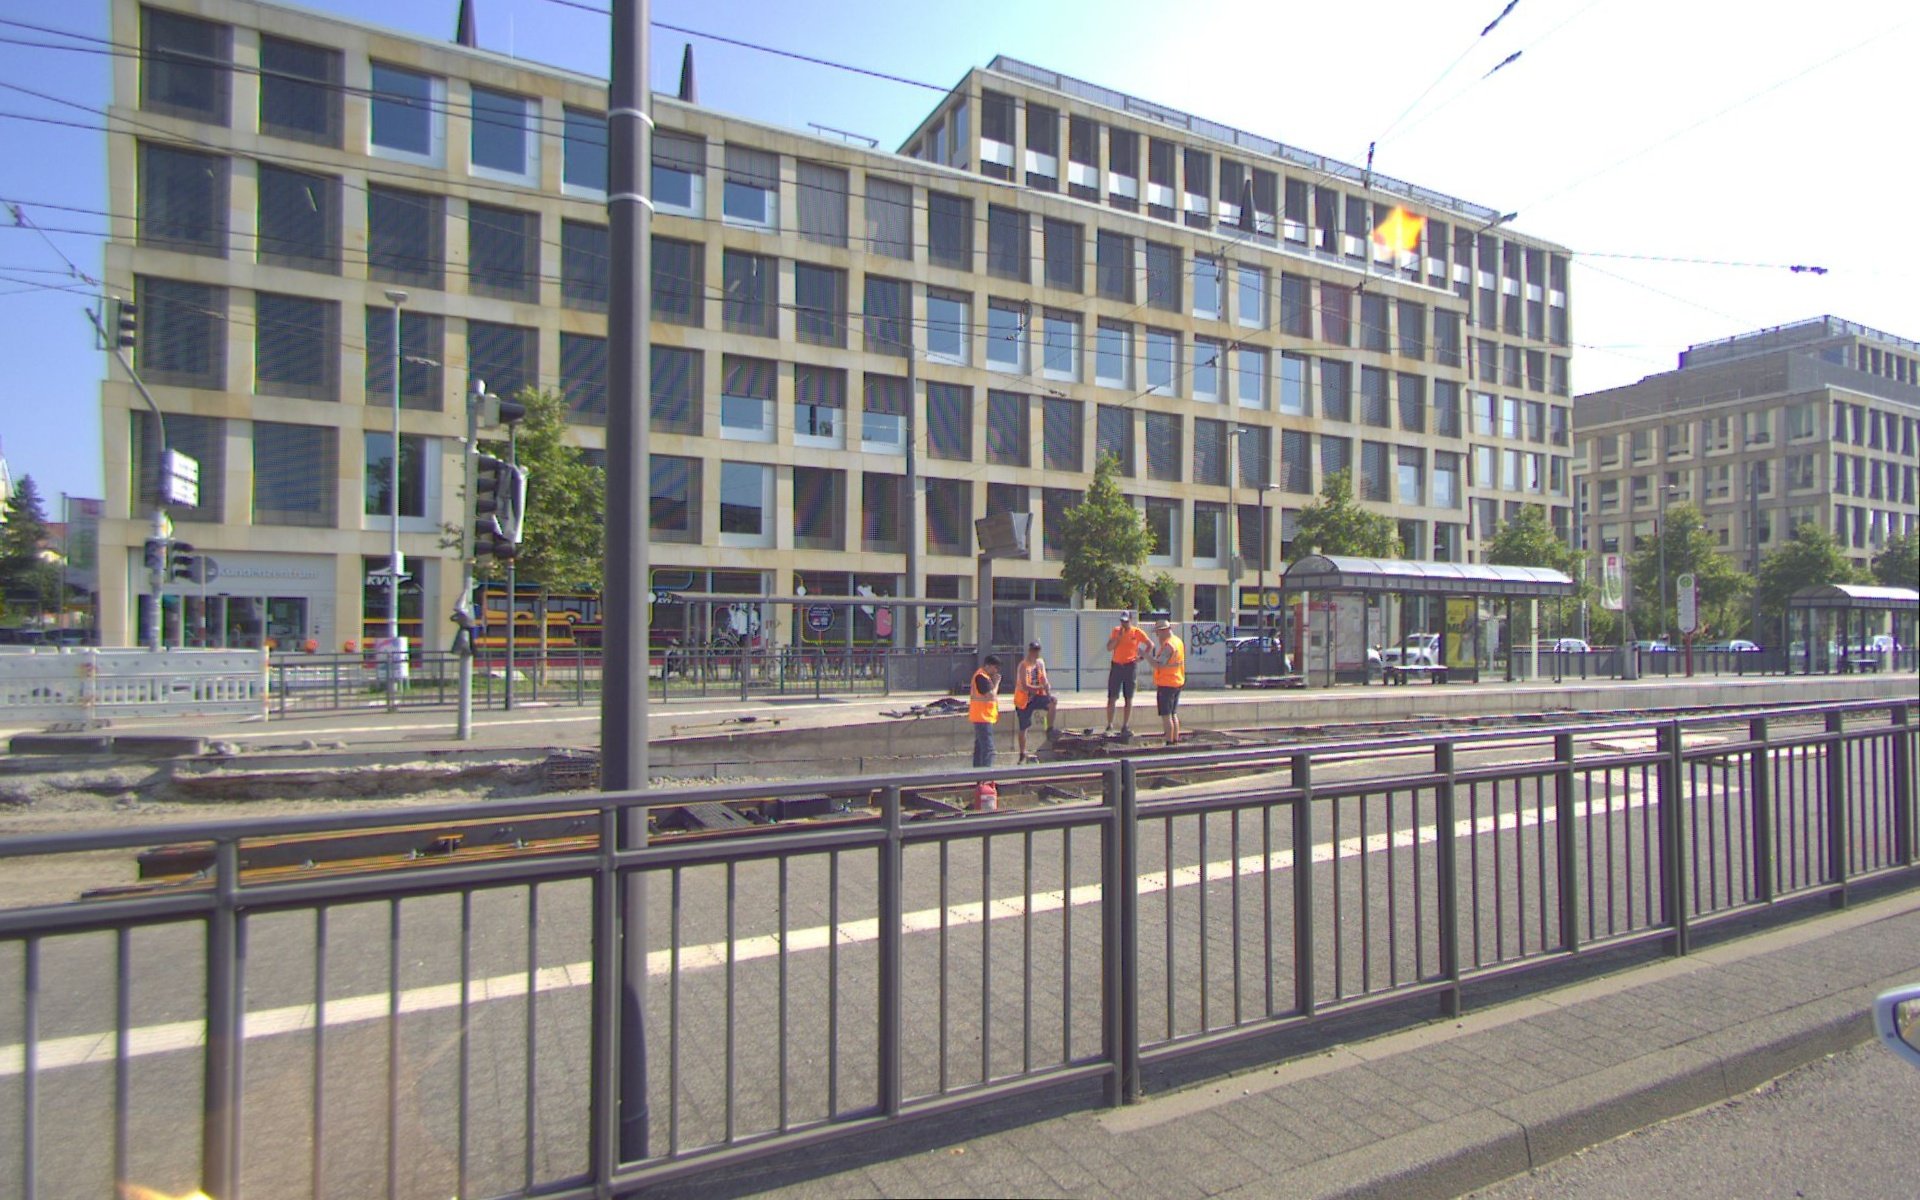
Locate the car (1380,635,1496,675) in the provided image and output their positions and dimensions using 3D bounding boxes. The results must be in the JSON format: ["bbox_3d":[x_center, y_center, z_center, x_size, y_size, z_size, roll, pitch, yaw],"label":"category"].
[{"bbox_3d":[17.753,2.007,37.247,4.319,1.426,1.677,1,-2,-28],"label":"car"}]

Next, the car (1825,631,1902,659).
[{"bbox_3d":[47.435,2.354,52.726,4.316,1.426,1.677,1,-2,-28],"label":"car"}]

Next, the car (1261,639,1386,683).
[{"bbox_3d":[12.472,2.048,34.430,3.950,1.422,1.894,1,-2,-28],"label":"car"}]

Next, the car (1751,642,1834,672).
[{"bbox_3d":[41.611,2.816,50.201,4.319,1.426,1.677,1,-2,-28],"label":"car"}]

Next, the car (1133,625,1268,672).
[{"bbox_3d":[7.698,1.522,32.097,3.950,1.422,1.894,1,-2,-28],"label":"car"}]

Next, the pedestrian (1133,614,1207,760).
[{"bbox_3d":[2.936,1.193,14.082,0.774,1.976,0.724,0,-2,-13],"label":"pedestrian"}]

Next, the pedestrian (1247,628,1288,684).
[{"bbox_3d":[9.531,1.736,31.108,0.868,1.698,0.834,1,-2,-25],"label":"pedestrian"}]

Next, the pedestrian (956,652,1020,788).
[{"bbox_3d":[0.365,1.515,12.938,0.756,1.685,0.669,-1,-2,6],"label":"pedestrian"}]

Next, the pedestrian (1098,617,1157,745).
[{"bbox_3d":[2.483,1.184,14.912,0.617,1.839,0.638,-2,-2,38],"label":"pedestrian"}]

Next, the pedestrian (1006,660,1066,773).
[{"bbox_3d":[1.108,1.672,14.615,0.631,1.575,0.624,-2,-2,37],"label":"pedestrian"}]
